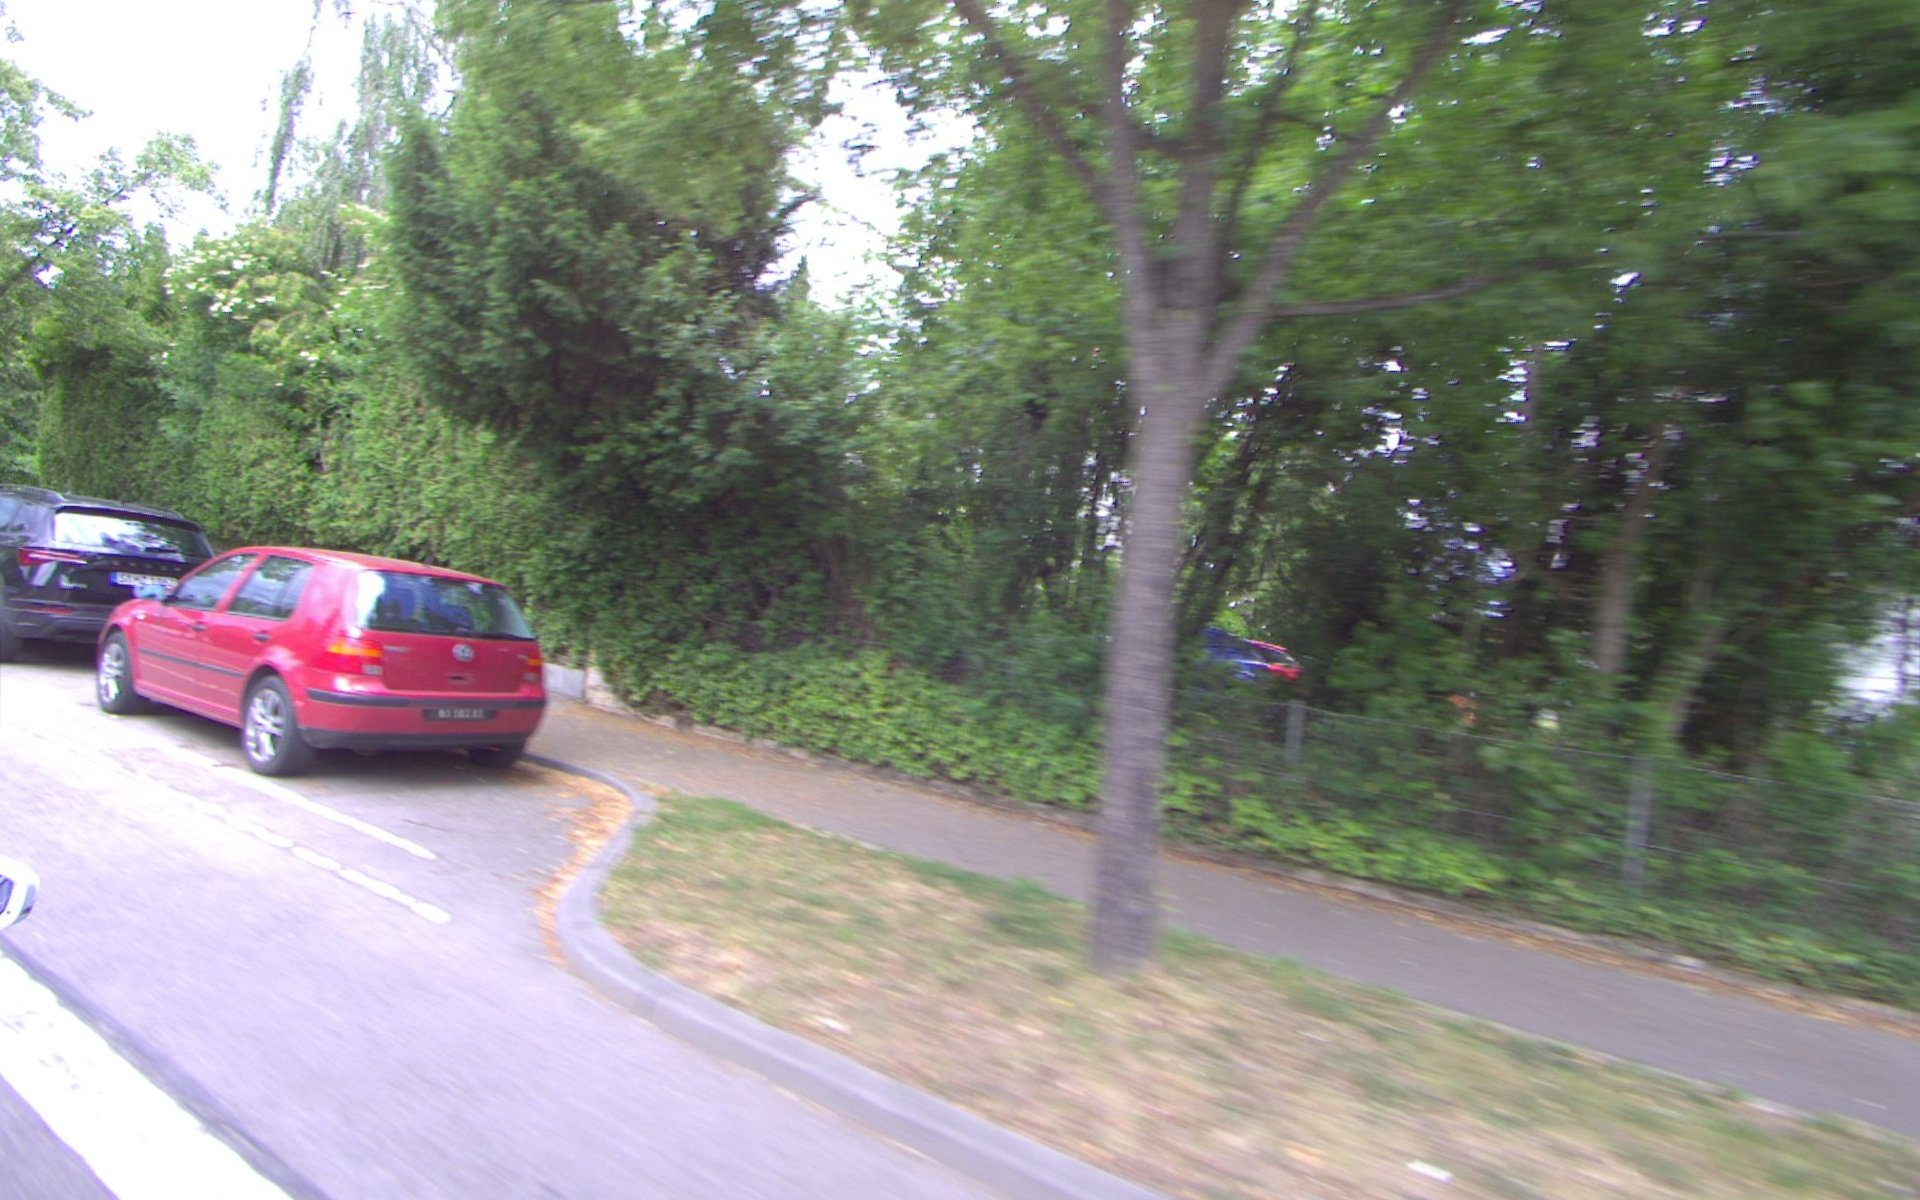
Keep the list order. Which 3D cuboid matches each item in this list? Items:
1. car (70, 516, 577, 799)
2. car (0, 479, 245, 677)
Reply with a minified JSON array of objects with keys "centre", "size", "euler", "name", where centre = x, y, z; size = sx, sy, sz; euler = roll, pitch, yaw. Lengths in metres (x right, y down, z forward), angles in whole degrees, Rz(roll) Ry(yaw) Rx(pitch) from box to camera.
[{"centre":[-4.886,0.318,7.566],"size":[3.935,1.437,1.640],"euler":[7,-1,33],"name":"car"},{"centre":[-9.440,-0.329,10.372],"size":[4.098,1.634,1.642],"euler":[7,-2,29],"name":"car"}]
